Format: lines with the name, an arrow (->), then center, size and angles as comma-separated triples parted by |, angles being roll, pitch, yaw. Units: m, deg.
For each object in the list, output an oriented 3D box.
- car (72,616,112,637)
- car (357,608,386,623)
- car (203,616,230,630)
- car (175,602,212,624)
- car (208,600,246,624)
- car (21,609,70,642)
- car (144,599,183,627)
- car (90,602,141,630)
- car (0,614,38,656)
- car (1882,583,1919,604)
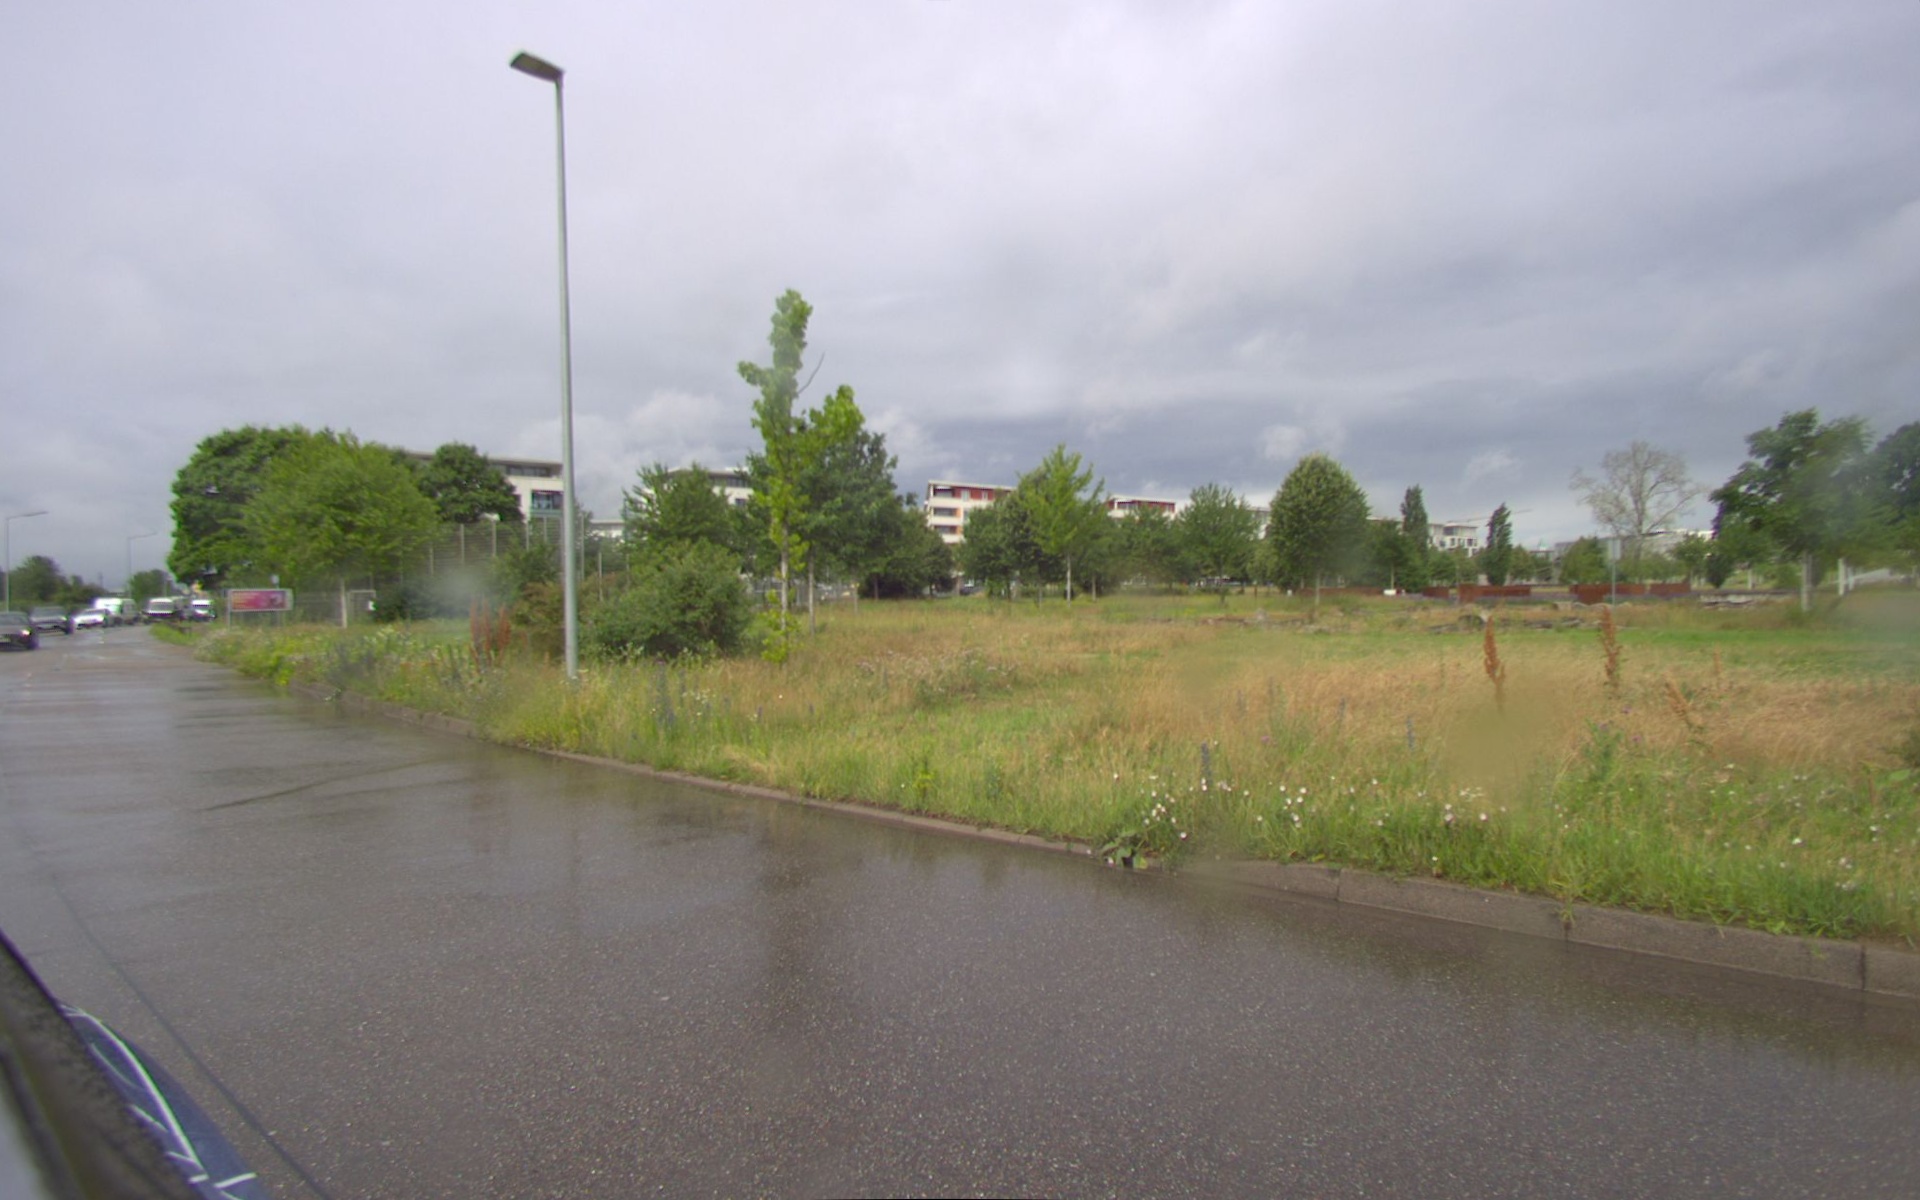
car -> -66.407, 1.989, 77.483 | 1.812, 1.530, 4.369 | -1, 0, -34
car -> -59.680, 1.594, 102.617 | 1.663, 1.406, 4.134 | -4, 2, -43
car -> -85.090, 2.598, 115.862 | 1.811, 1.530, 4.371 | -1, 0, -27
car -> -90.958, 1.549, 120.155 | 2.039, 2.548, 6.679 | 1, -1, -24
car -> -95.382, 1.585, 131.728 | 2.436, 2.978, 6.909 | 0, -1, -23
car -> -52.652, 1.418, 58.274 | 1.981, 1.718, 4.334 | -4, 2, -42
car -> -84.205, 1.378, 107.094 | 2.114, 2.905, 5.293 | 2, -1, -27
car -> -76.909, 1.428, 92.269 | 2.062, 2.491, 5.967 | 0, 0, -25
car -> -36.447, 1.302, 38.501 | 1.846, 1.530, 4.363 | 3, -3, -41
car -> 78.962, -0.542, 84.102 | 1.985, 1.719, 3.974 | -1, 0, 20
